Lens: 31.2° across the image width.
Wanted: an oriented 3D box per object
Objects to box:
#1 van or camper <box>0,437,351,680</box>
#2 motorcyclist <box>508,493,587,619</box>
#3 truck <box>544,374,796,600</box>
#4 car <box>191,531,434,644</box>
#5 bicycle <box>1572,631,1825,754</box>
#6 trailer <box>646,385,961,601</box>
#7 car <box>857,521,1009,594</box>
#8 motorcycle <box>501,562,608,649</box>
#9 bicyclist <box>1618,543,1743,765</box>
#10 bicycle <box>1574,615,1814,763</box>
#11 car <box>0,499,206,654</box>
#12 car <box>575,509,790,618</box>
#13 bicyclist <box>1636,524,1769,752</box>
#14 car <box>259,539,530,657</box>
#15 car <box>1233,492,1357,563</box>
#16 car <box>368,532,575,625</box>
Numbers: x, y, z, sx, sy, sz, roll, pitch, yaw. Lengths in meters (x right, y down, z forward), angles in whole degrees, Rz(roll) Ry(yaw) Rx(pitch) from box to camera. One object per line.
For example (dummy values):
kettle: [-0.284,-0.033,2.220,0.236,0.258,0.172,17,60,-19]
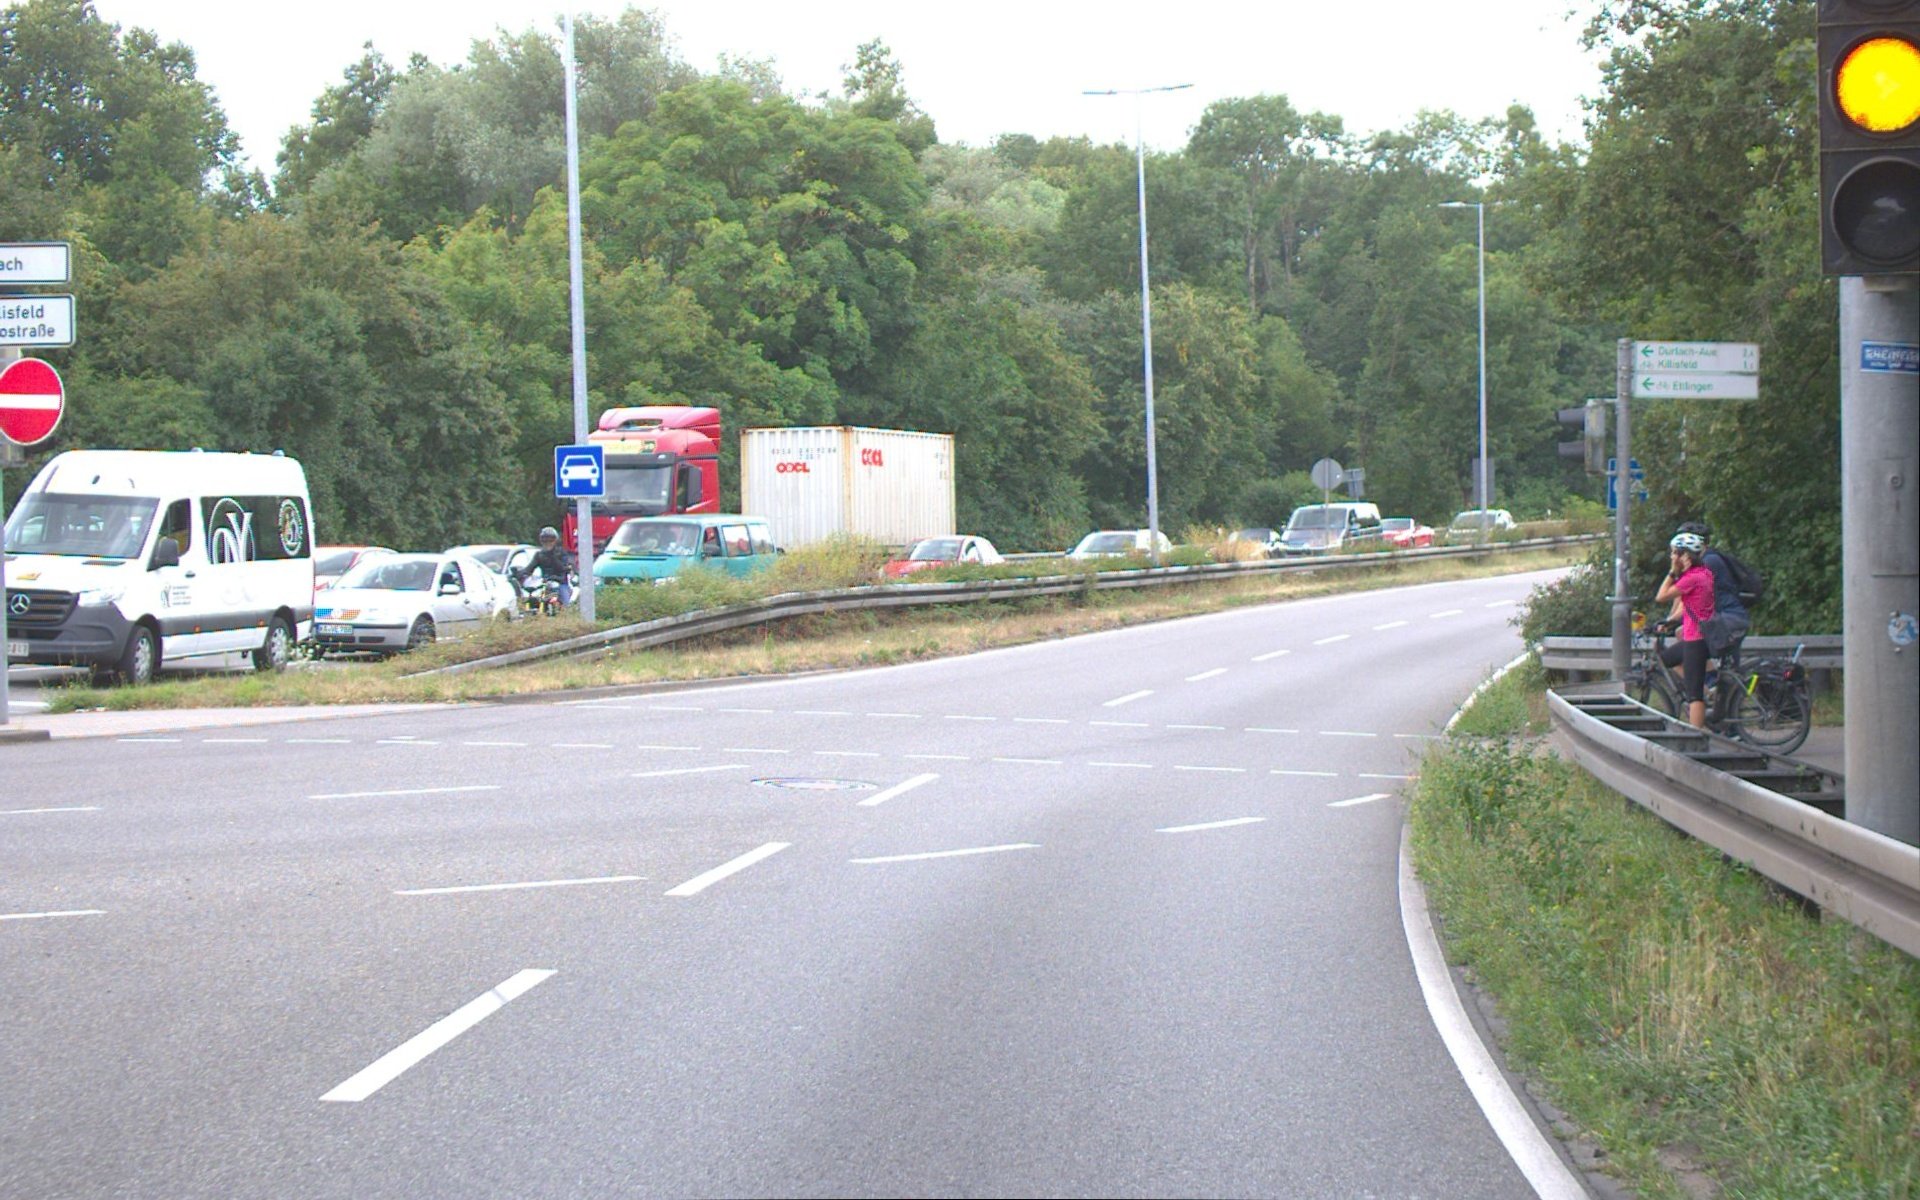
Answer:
van or camper: [-9.369,-0.498,39.830,2.161,2.580,6.492,1,1,13]
motorcyclist: [-6.023,-0.648,50.259,0.866,1.817,0.925,1,1,14]
truck: [-5.380,-2.082,64.790,2.571,4.069,5.617,1,1,20]
car: [-9.653,-0.211,51.557,1.995,1.608,3.997,1,1,16]
bicycle: [6.114,0.766,28.542,1.972,0.937,0.661,-2,1,6]
trailer: [-3.026,-2.130,71.145,2.537,4.133,10.761,1,1,20]
car: [-0.508,-0.876,69.701,1.806,1.427,4.122,1,1,19]
motorcycle: [-5.909,0.067,50.242,0.799,1.220,2.325,1,1,13]
bicyclist: [5.685,0.417,27.102,0.852,1.726,0.636,0,0,23]
bicycle: [5.774,0.694,27.056,1.744,1.134,0.630,-1,0,23]
car: [-11.614,-0.327,44.262,1.995,1.895,4.164,1,1,16]
car: [-4.547,-0.618,57.110,1.805,1.723,4.957,1,1,18]
bicyclist: [6.156,0.308,28.542,0.949,1.837,0.664,-2,1,6]
car: [-7.562,-0.063,46.417,1.995,1.493,4.397,1,1,14]
car: [9.017,-1.930,92.058,2.011,1.857,5.272,1,1,20]
car: [-8.009,-0.372,56.753,1.805,1.461,4.275,1,1,16]
